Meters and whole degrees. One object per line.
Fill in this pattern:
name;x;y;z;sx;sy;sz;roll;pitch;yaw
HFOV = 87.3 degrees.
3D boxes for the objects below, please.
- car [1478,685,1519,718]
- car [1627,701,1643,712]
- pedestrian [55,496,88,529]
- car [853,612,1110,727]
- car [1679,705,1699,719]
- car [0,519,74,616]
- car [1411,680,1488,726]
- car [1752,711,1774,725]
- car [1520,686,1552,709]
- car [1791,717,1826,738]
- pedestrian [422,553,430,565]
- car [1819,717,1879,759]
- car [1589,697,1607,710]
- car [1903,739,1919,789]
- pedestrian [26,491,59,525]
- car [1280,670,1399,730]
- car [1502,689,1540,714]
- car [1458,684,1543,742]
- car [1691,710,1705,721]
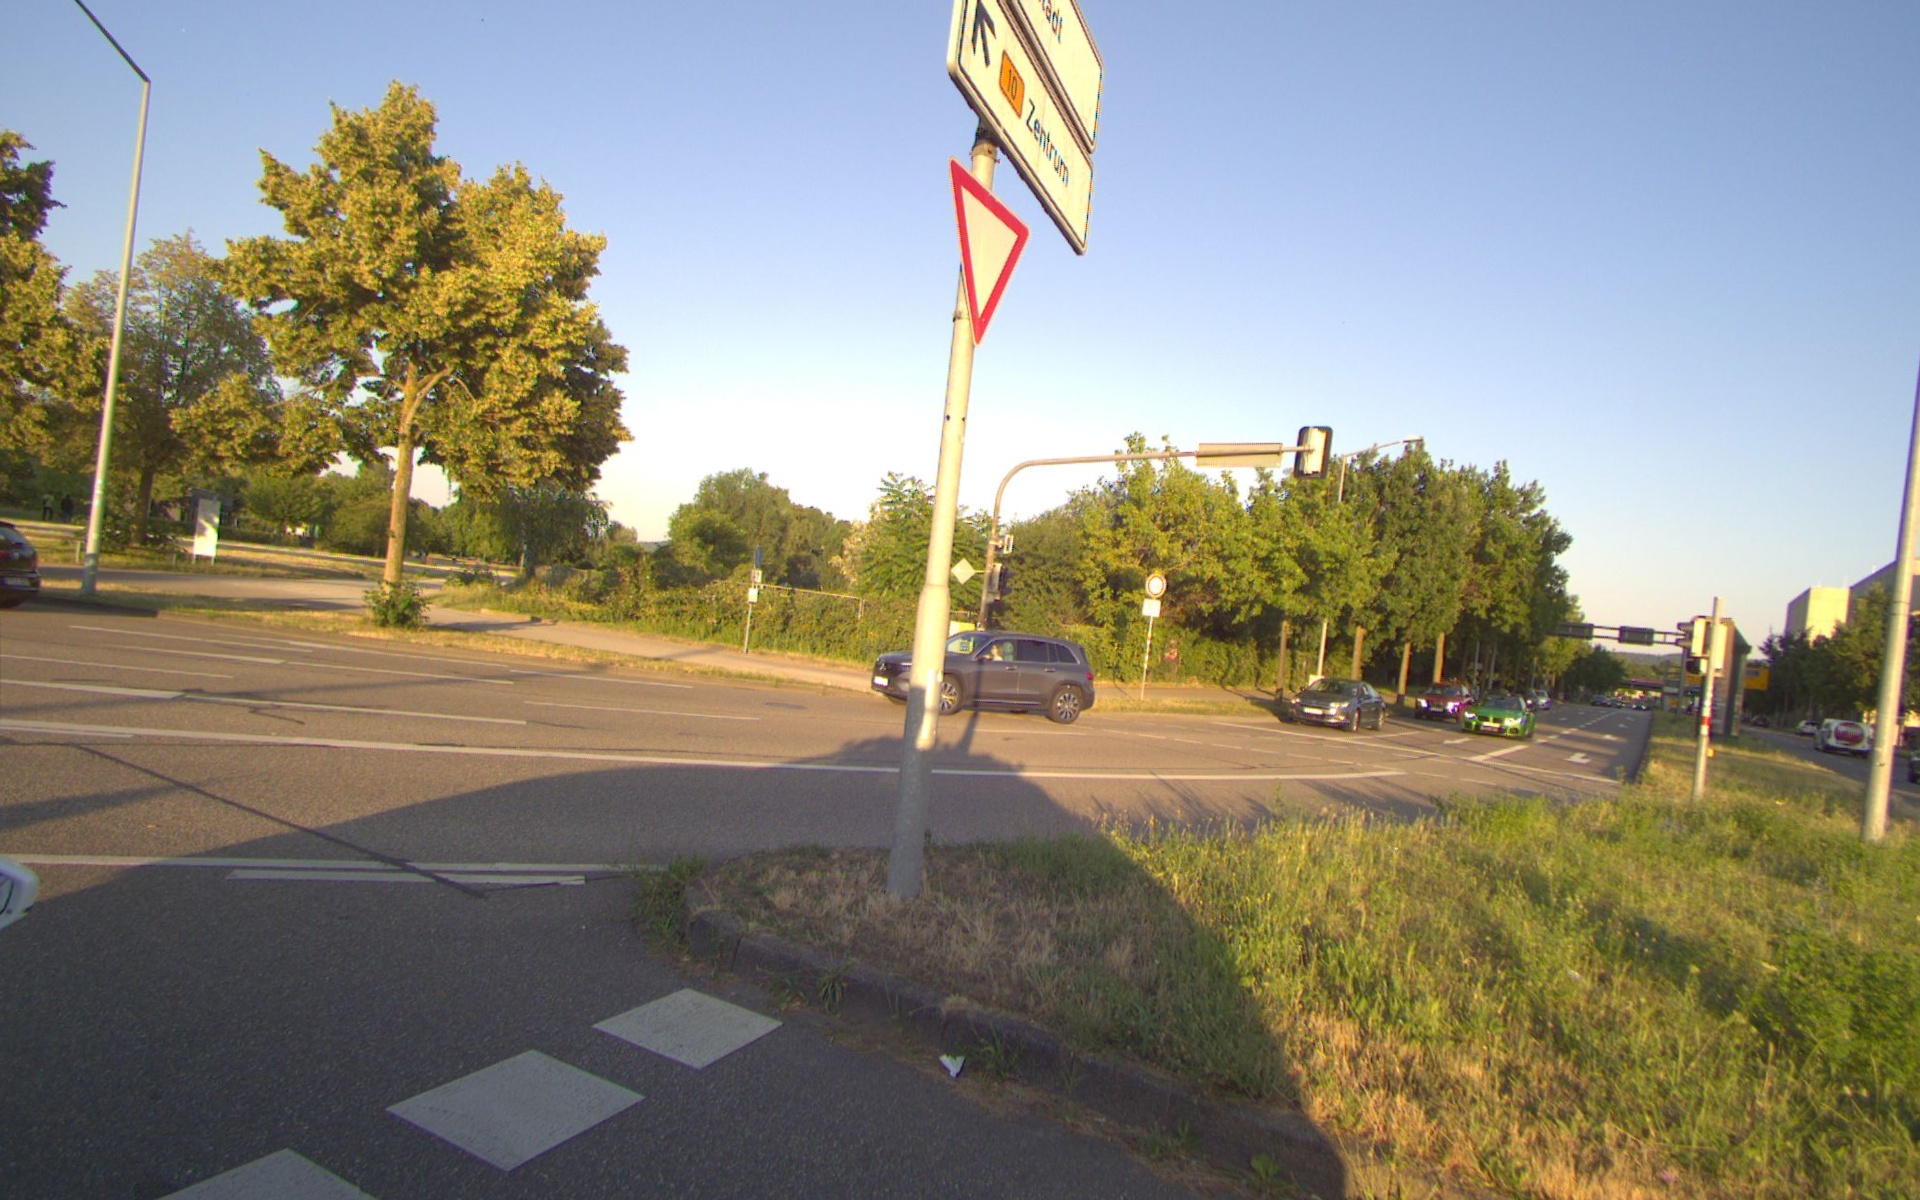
car;31.564;5.912;58.970;1.835;1.408;4.155;12;3;29
car;111.699;17.568;166.364;1.969;1.523;4.758;7;-1;35
pedestrian;-49.650;-4.890;56.193;0.896;1.637;1.070;7;0;34
car;0.441;1.365;19.480;4.477;1.657;1.985;8;-1;-30
car;99.482;15.300;137.254;1.969;1.523;4.101;7;-1;35
car;-15.893;-0.705;14.735;3.936;1.370;1.690;8;0;-12
car;20.950;4.411;42.988;1.970;1.592;4.400;7;-1;38
car;111.051;16.259;139.148;1.968;1.593;3.990;7;-1;34
car;44.136;7.481;77.133;1.836;1.471;3.967;7;-1;29
car;79.975;12.001;94.889;1.969;1.527;5.171;7;-1;36
pedestrian;-81.803;-6.297;154.080;0.846;1.681;0.970;7;0;-33
car;50.855;7.879;57.637;2.037;1.970;4.944;7;-1;37
car;91.626;14.875;144.556;1.886;1.602;4.170;7;-1;35
car;35.053;5.945;35.633;1.971;1.648;3.985;7;-1;39
pedestrian;-50.576;-5.076;55.453;0.896;1.637;1.070;7;0;34
car;11.203;2.958;29.491;1.860;1.481;4.653;3;-3;39
car;39.034;7.065;69.981;1.838;1.471;4.152;7;-1;35
car;18.669;3.852;34.633;1.968;1.598;4.474;7;-1;35
car;140.704;22.044;191.840;1.969;1.804;3.988;7;-1;37
